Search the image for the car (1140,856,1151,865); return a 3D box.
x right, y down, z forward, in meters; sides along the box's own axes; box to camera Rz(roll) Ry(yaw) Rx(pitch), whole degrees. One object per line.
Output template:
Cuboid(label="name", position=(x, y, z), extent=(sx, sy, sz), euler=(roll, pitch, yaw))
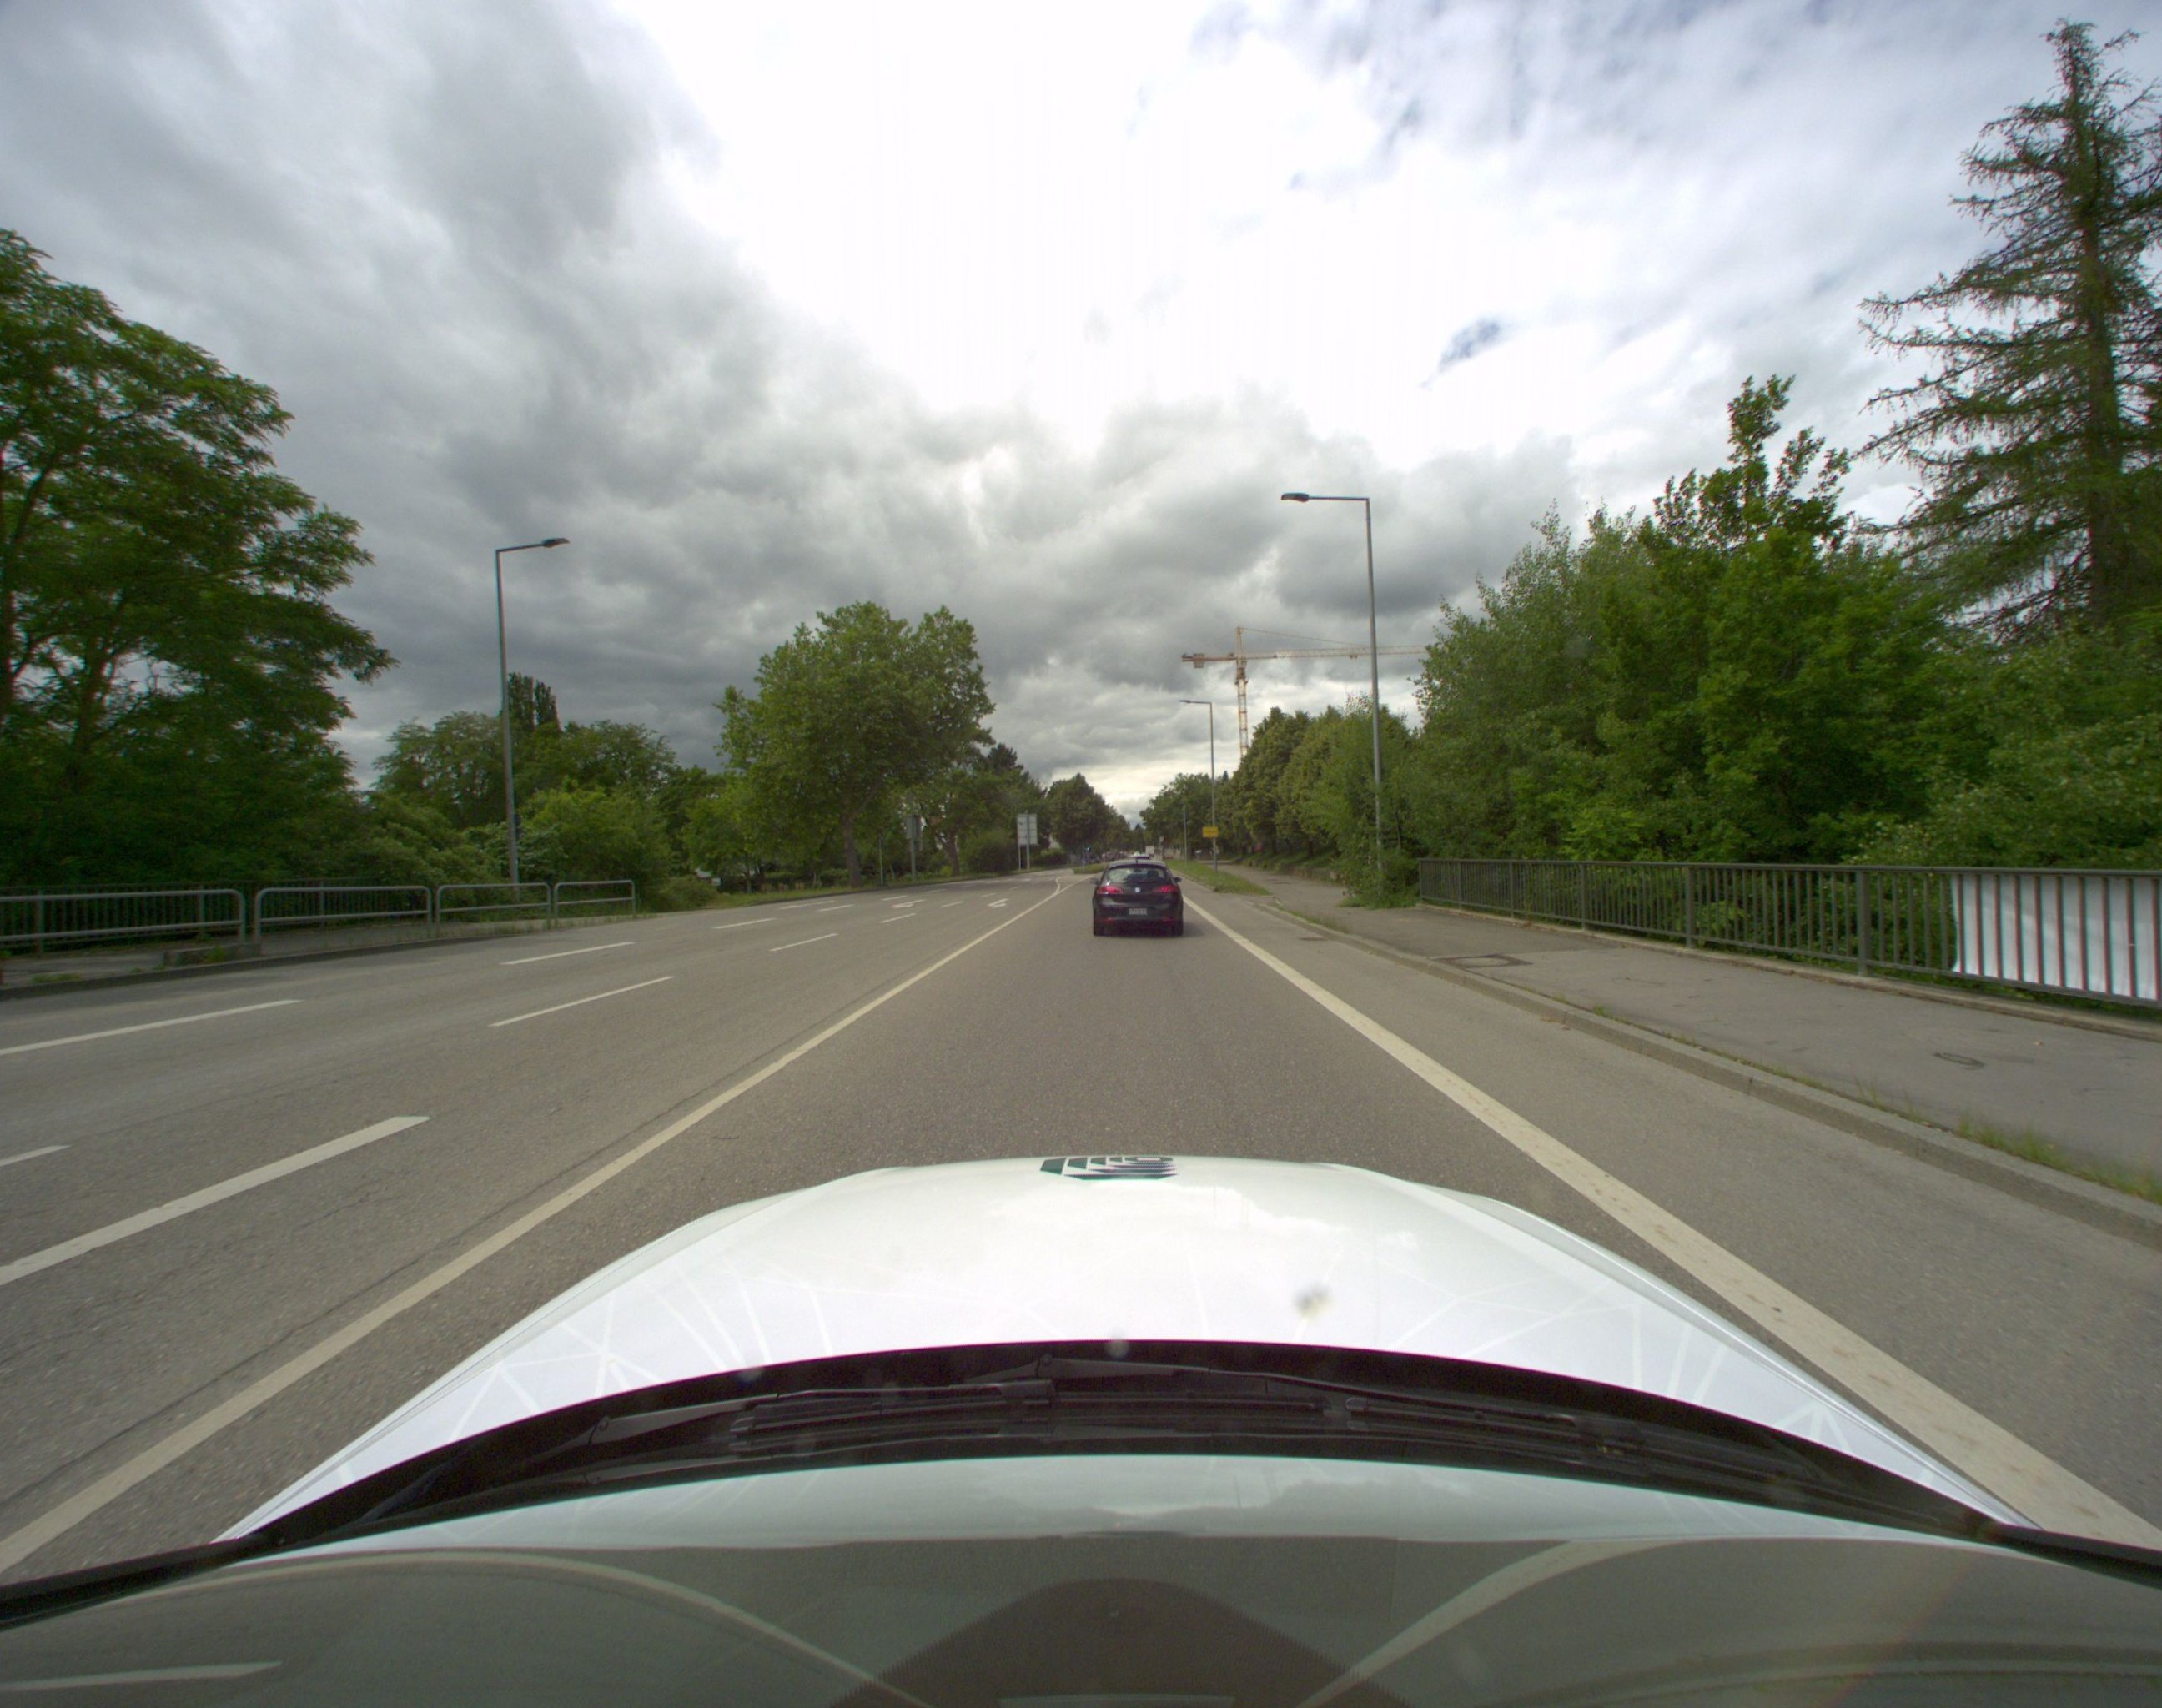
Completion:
Cuboid(label="car", position=(12.304, 1.223, 154.698), extent=(1.872, 1.689, 4.220), euler=(-2, 0, 5))

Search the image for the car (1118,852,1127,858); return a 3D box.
Cuboid(label="car", position=(11.482, 0.318, 225.896), extent=(2.090, 1.506, 5.793), euler=(-4, 0, 5))

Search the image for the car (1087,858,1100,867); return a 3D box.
Cuboid(label="car", position=(2.138, 1.458, 139.703), extent=(1.710, 1.395, 4.808), euler=(-4, 0, 5))

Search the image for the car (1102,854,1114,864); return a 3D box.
Cuboid(label="car", position=(5.591, 1.115, 168.921), extent=(2.090, 1.896, 5.793), euler=(-4, 0, 5))

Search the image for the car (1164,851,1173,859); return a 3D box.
Cuboid(label="car", position=(17.350, 0.129, 162.352), extent=(1.680, 1.490, 3.360), euler=(-2, 0, 5))

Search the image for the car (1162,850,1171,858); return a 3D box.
Cuboid(label="car", position=(17.591, 0.001, 167.471), extent=(1.680, 1.711, 4.220), euler=(-2, 0, 5))

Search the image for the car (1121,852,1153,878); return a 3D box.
Cuboid(label="car", position=(3.330, 0.637, 48.458), extent=(1.838, 1.510, 3.816), euler=(0, 0, 4))

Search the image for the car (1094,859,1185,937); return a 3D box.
Cuboid(label="car", position=(1.139, 0.806, 16.732), extent=(1.656, 1.401, 3.814), euler=(0, 0, 2))

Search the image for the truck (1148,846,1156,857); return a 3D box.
Cuboid(label="truck", position=(20.015, -0.729, 229.879), extent=(2.268, 3.104, 8.522), euler=(0, 0, 5))
